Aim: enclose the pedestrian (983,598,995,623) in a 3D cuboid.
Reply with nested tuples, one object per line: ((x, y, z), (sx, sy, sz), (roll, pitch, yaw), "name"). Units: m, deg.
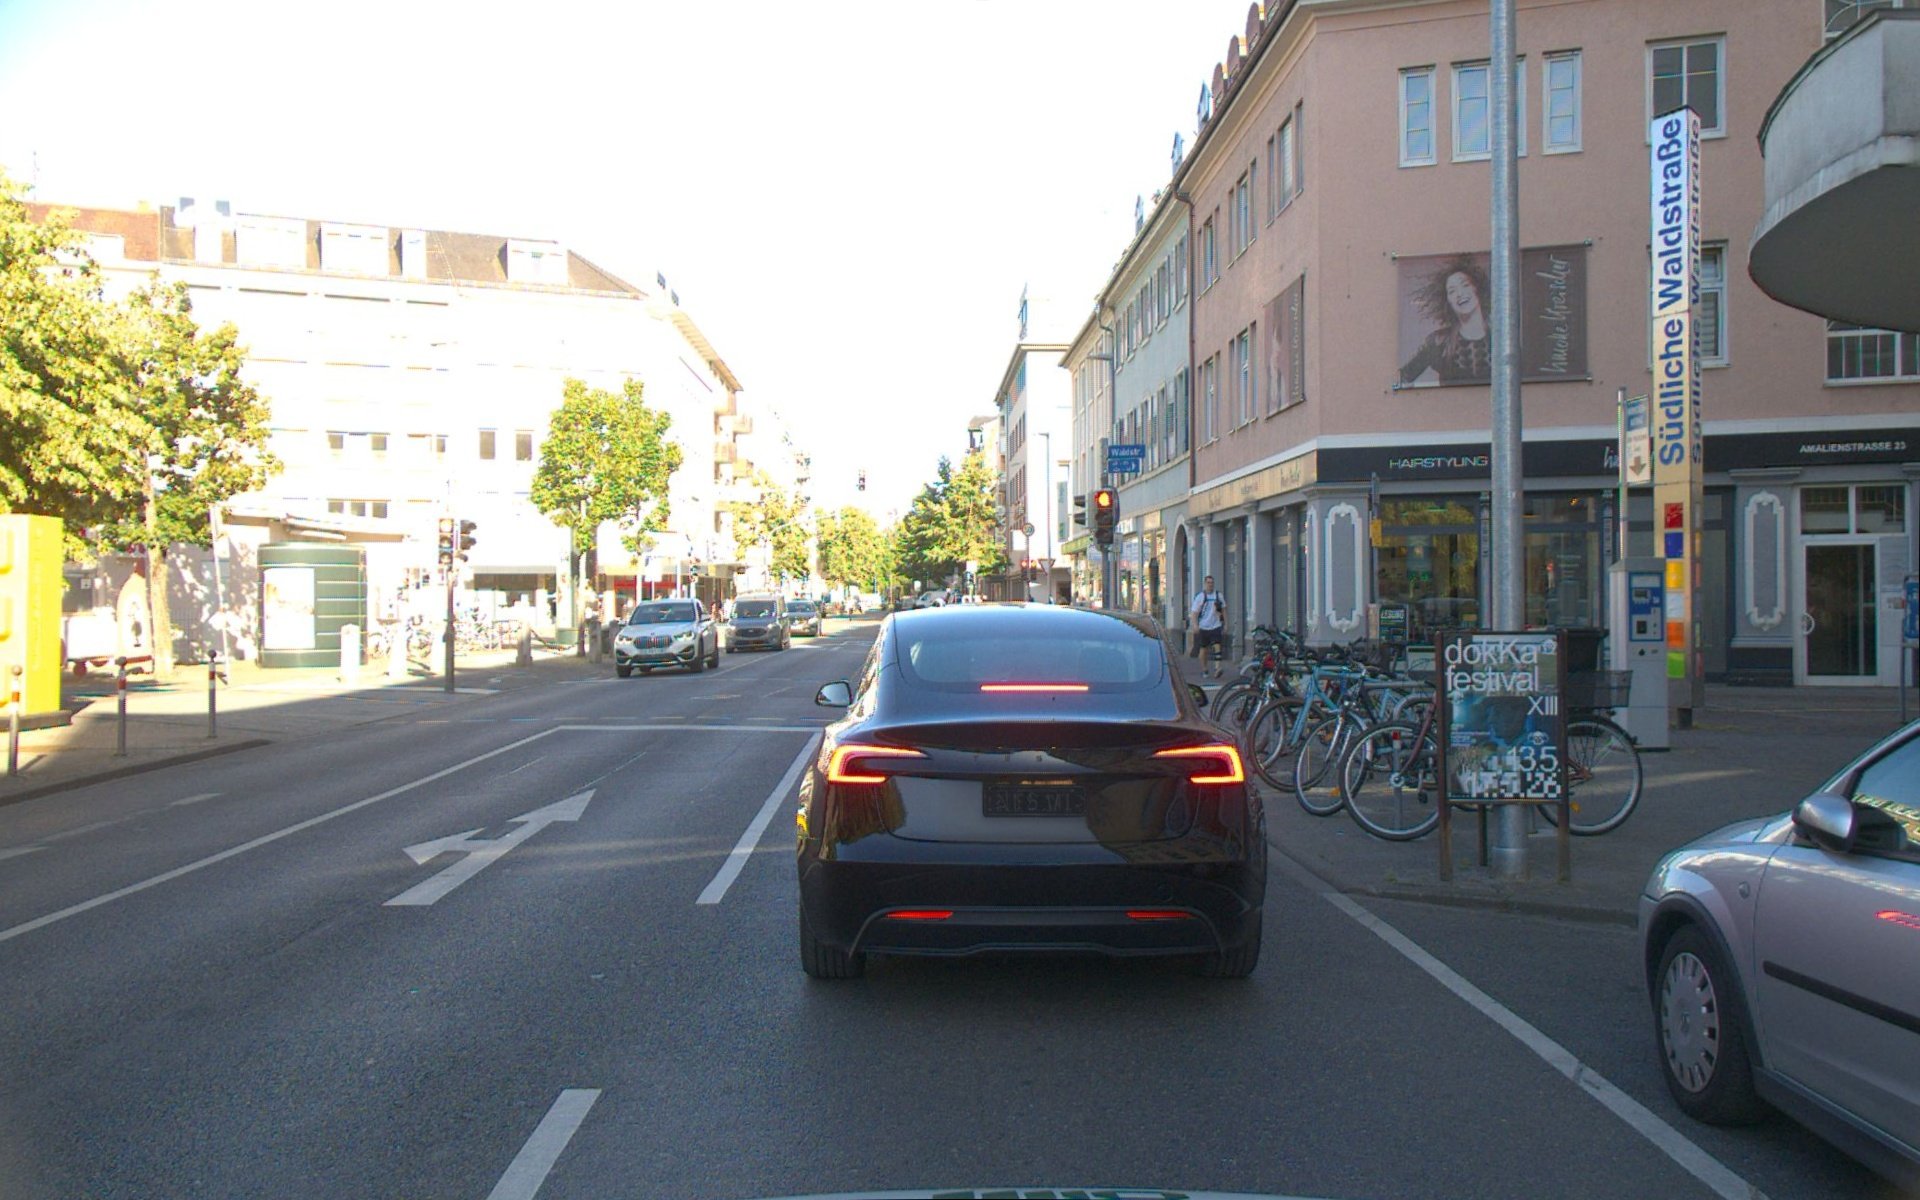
((1.687, 0.610, 95.820), (0.516, 1.447, 0.474), (1, -1, -31), "pedestrian")

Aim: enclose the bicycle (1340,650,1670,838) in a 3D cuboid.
((3.273, 0.866, 10.011), (1.833, 1.056, 0.353), (-2, -1, 6), "bicycle")

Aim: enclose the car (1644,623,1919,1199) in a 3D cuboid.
((2.918, 0.778, 3.499), (1.515, 1.415, 3.476), (0, 0, 0), "car")

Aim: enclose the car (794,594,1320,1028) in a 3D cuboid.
((0.306, 0.724, 7.621), (1.785, 1.467, 3.999), (0, 0, -1), "car")

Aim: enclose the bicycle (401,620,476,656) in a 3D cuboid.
((-14.163, 1.023, 44.966), (1.826, 0.950, 0.606), (1, 0, -2), "bicycle")

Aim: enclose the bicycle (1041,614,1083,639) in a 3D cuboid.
((4.402, 1.139, 71.353), (1.756, 1.024, 0.469), (1, -1, -17), "bicycle")

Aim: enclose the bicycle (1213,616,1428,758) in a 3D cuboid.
((3.199, 0.768, 14.772), (1.789, 1.189, 0.506), (-2, -1, 5), "bicycle")

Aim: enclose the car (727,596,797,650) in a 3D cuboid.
((-6.287, 0.702, 52.893), (1.751, 1.675, 4.401), (0, 0, -1), "car")

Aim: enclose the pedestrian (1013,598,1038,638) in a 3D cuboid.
((2.746, 0.750, 69.538), (0.742, 1.660, 0.951), (1, -1, -18), "pedestrian")

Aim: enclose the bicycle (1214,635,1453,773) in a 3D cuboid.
((3.056, 0.850, 13.650), (1.833, 1.056, 0.548), (-2, -1, 5), "bicycle")

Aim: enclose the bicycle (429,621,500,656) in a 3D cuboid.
((-14.091, 1.085, 47.081), (1.826, 0.950, 0.606), (1, 0, -2), "bicycle")

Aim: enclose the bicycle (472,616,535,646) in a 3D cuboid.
((-14.327, 0.971, 51.916), (1.826, 0.950, 0.606), (0, 0, -2), "bicycle")

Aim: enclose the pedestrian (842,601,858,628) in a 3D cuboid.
((-7.352, 0.963, 110.243), (0.832, 1.725, 0.717), (0, 0, 29), "pedestrian")

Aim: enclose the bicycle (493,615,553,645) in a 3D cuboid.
((-14.363, 0.980, 54.364), (1.826, 0.950, 0.606), (0, 0, -2), "bicycle")

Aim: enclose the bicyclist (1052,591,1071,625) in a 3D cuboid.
((4.380, 0.340, 71.347), (0.659, 1.420, 0.460), (1, -1, -17), "bicyclist")

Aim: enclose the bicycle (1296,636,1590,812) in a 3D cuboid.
((3.240, 0.829, 11.176), (1.834, 1.106, 0.414), (-2, -1, 3), "bicycle")

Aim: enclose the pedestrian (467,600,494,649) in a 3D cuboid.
((-20.431, 1.037, 70.453), (1.041, 2.049, 1.049), (1, -1, -20), "pedestrian")

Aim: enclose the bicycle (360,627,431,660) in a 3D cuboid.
((-14.449, 1.112, 42.382), (1.612, 0.806, 0.606), (1, 0, -5), "bicycle")

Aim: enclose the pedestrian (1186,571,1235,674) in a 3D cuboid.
((4.486, 0.398, 29.690), (0.735, 1.796, 0.837), (-2, -1, 3), "pedestrian")

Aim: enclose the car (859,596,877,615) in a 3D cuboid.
((-10.398, 0.622, 186.963), (1.953, 2.049, 3.999), (0, 0, -1), "car")

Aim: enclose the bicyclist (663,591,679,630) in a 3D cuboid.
((-11.504, 0.405, 65.874), (0.516, 1.530, 0.473), (1, -1, -24), "bicyclist")

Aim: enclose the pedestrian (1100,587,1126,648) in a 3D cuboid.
((4.457, 0.507, 48.314), (0.692, 1.773, 0.540), (0, 0, -1), "pedestrian")

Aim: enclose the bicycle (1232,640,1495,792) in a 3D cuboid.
((3.024, 0.865, 12.492), (1.834, 1.056, 0.533), (-2, -1, 3), "bicycle")

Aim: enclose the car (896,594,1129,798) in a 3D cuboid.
((0.310, 0.687, 13.805), (1.683, 1.450, 3.755), (0, 0, -2), "car")

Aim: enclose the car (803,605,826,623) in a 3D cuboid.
((-12.785, 1.205, 145.883), (1.671, 1.579, 3.697), (0, 0, 1), "car")

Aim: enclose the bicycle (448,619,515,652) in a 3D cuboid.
((-14.327, 1.061, 49.551), (1.826, 0.950, 0.606), (1, 0, -2), "bicycle")

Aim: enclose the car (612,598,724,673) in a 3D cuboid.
((-6.302, 0.742, 36.017), (1.752, 1.485, 3.756), (-2, 0, -1), "car")

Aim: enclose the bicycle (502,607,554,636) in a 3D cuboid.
((-20.259, 1.023, 77.577), (2.334, 1.318, 0.509), (1, -1, -27), "bicycle")

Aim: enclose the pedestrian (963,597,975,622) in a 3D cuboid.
((0.498, 0.530, 95.635), (0.467, 1.442, 0.516), (1, -1, -32), "pedestrian")

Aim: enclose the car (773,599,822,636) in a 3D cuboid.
((-6.695, 0.705, 68.505), (1.680, 1.471, 3.844), (1, 0, -1), "car")

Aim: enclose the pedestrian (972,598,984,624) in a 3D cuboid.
((1.044, 0.636, 94.855), (0.516, 1.447, 0.474), (1, -1, -31), "pedestrian")
